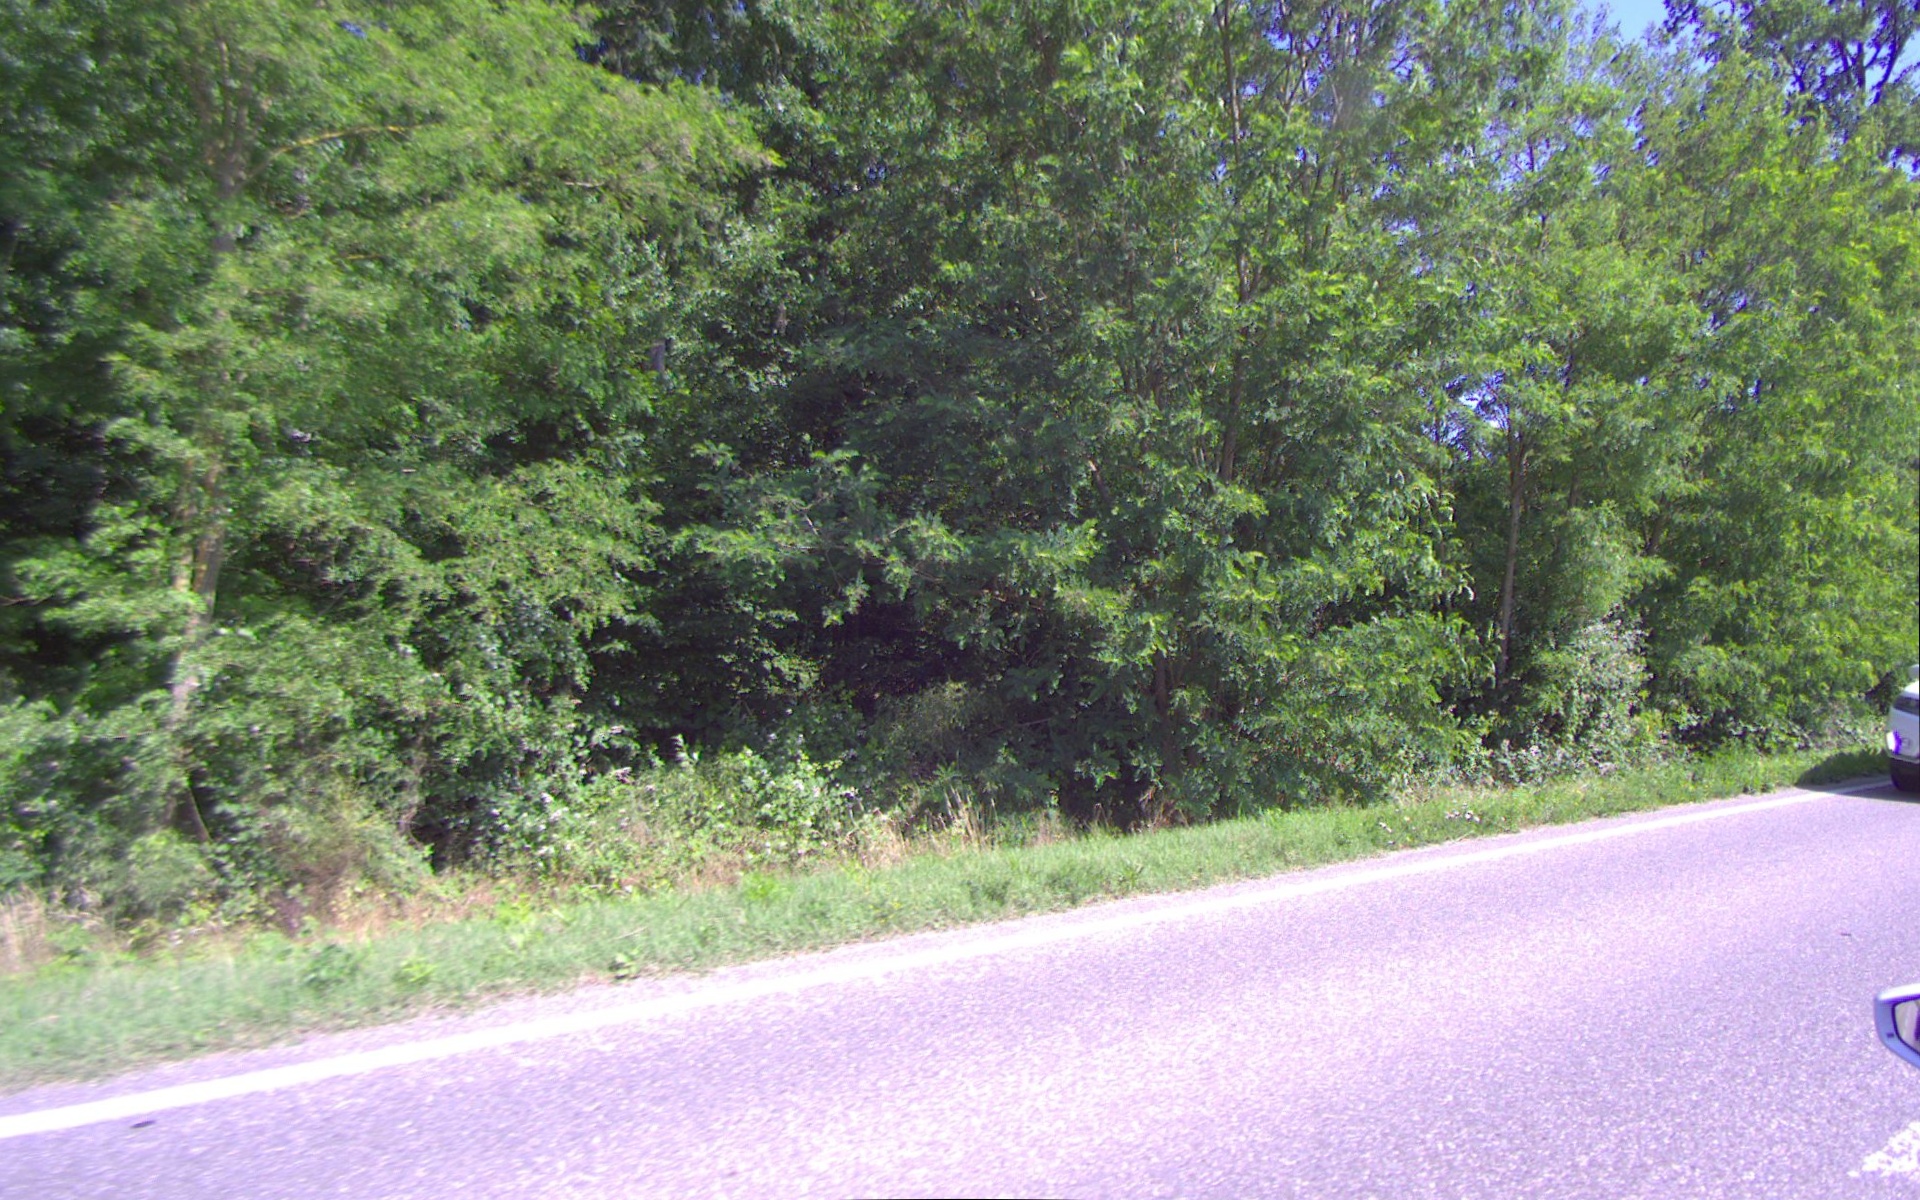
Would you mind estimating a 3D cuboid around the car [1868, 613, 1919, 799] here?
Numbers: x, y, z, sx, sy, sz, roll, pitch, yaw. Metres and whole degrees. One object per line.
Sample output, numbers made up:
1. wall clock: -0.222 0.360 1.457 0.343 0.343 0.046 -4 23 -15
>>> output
1. car: 10.708 0.996 9.792 3.957 1.699 1.799 1 -2 -33
